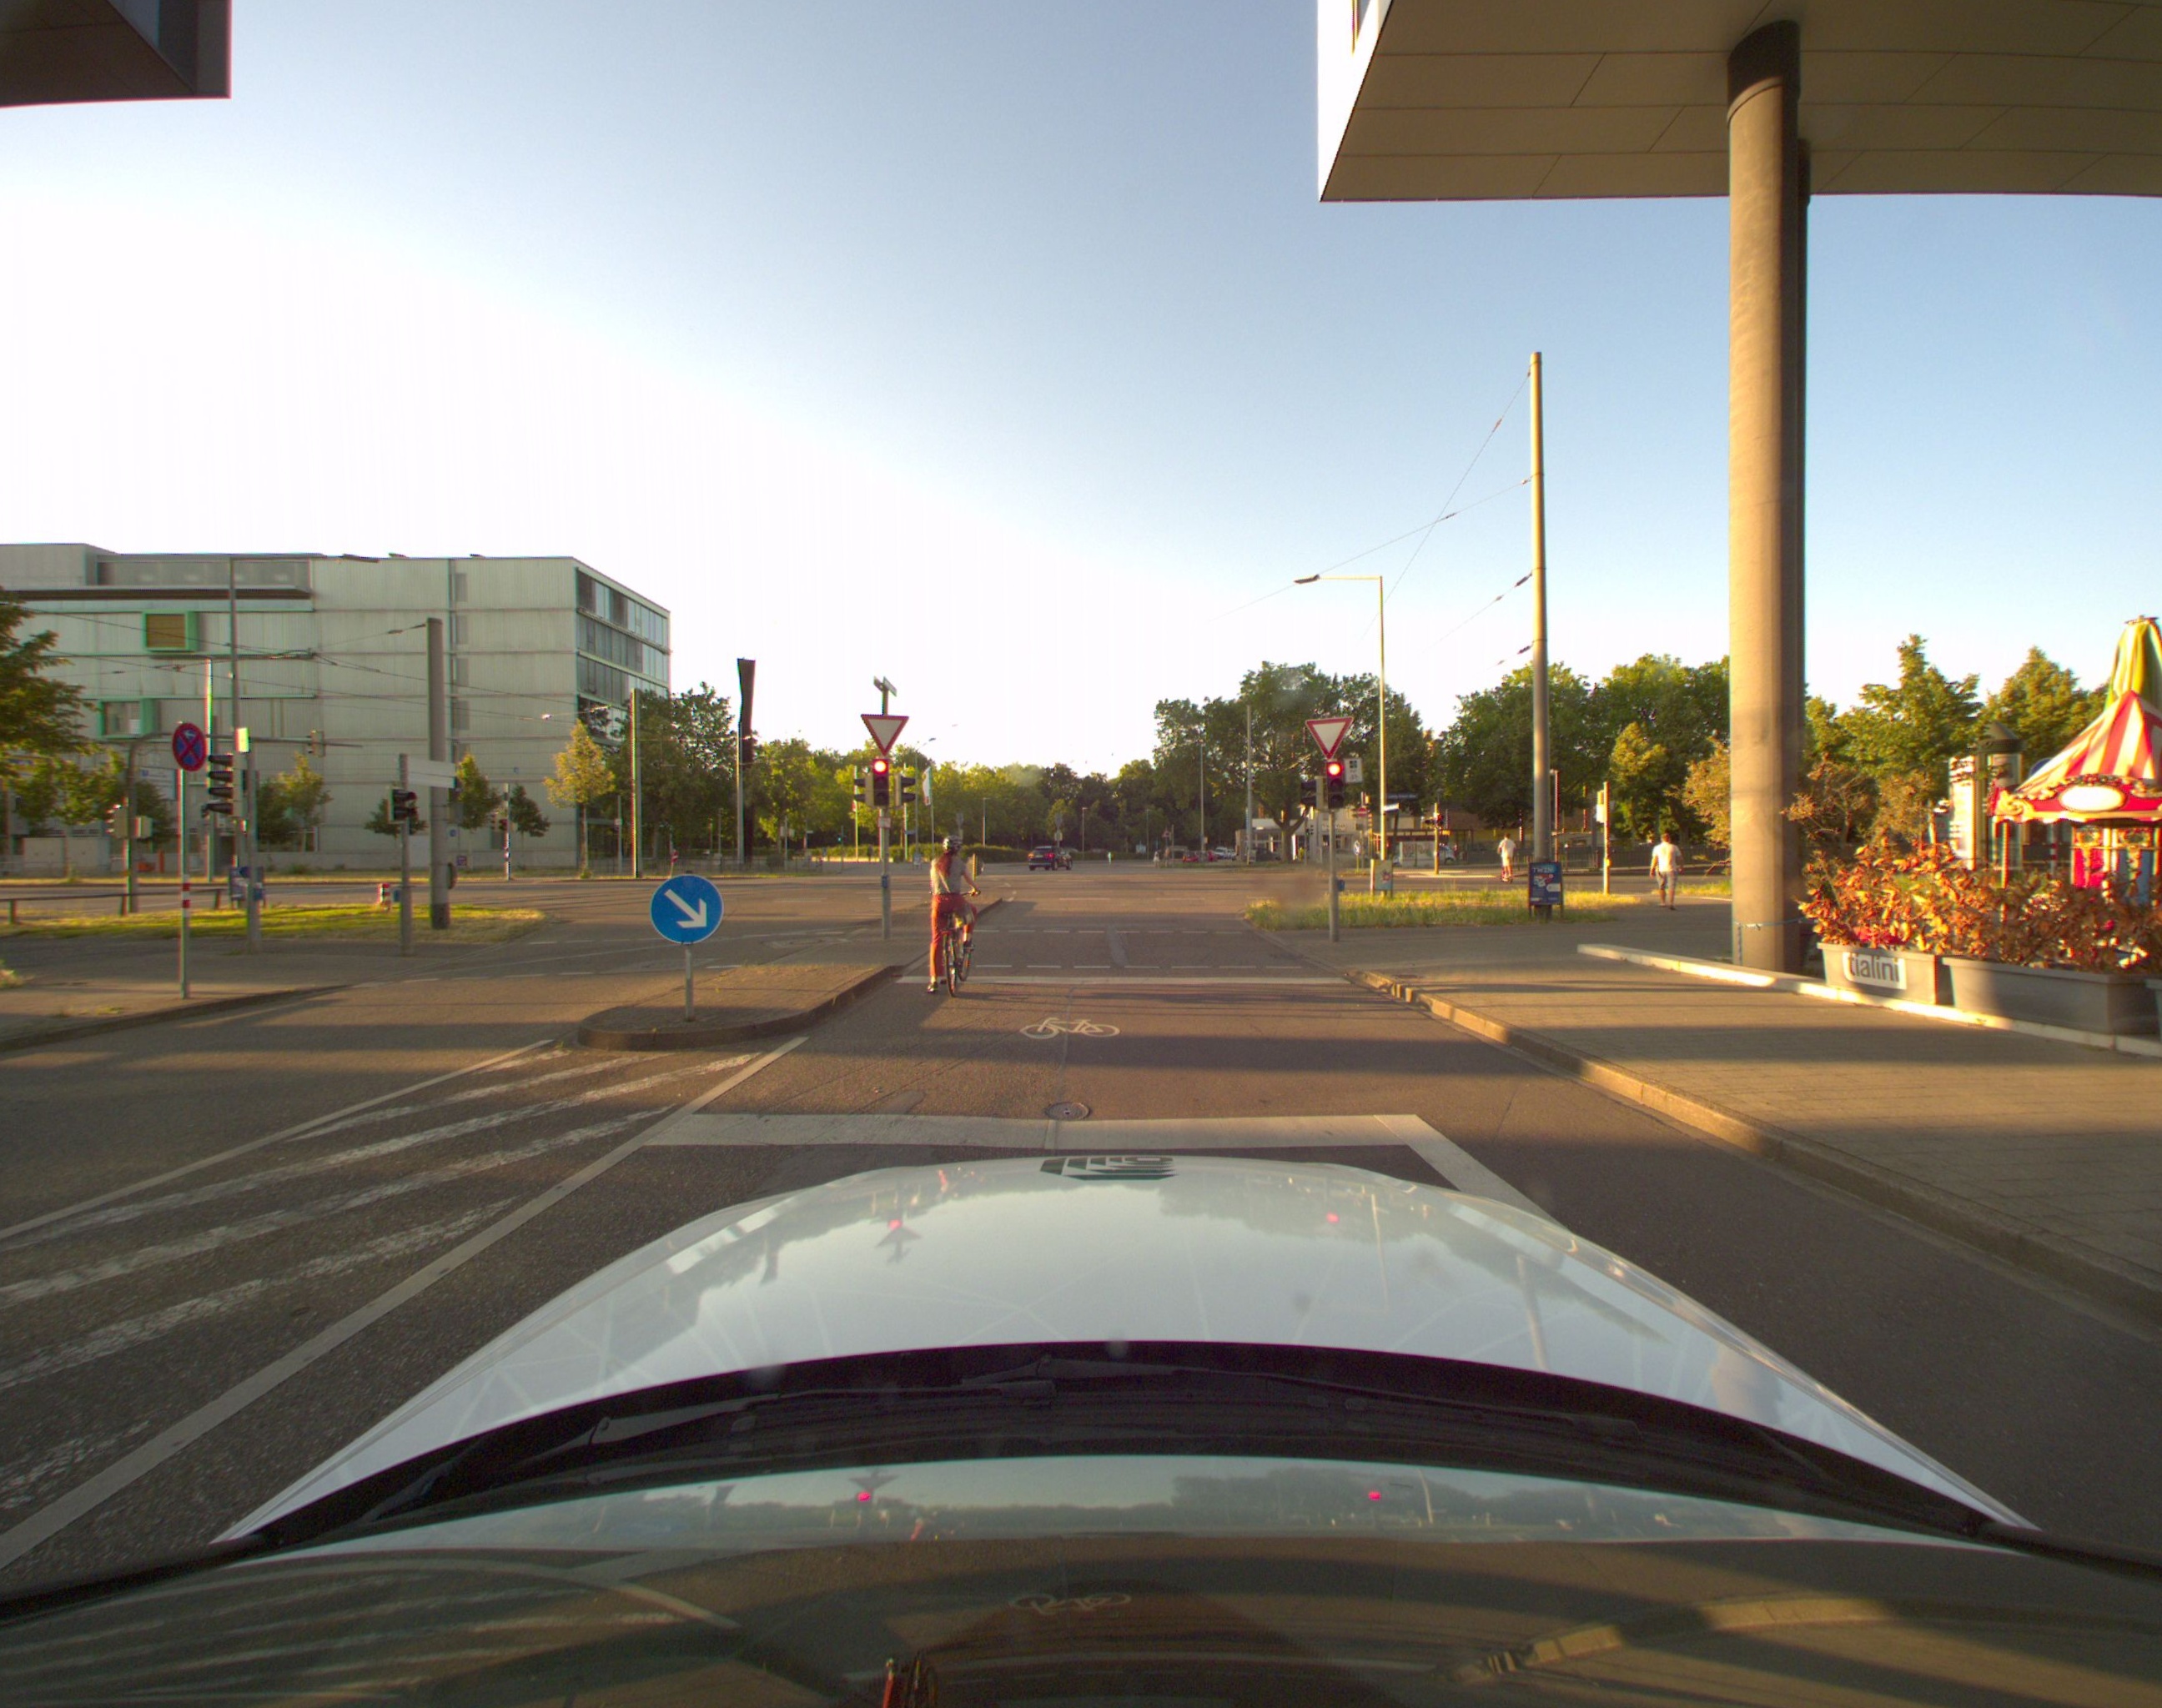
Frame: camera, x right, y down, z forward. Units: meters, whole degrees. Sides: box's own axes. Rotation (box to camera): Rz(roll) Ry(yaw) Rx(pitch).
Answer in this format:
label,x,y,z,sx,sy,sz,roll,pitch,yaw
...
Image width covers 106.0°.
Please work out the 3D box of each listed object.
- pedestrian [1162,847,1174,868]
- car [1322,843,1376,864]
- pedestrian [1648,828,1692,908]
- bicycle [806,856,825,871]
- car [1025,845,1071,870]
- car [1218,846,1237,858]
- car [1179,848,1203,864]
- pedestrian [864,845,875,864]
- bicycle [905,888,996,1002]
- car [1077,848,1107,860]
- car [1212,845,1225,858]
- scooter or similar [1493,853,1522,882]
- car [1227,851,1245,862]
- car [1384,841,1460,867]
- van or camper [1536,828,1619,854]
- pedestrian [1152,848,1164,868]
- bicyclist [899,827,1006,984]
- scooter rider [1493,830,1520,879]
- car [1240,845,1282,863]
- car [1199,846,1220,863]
label,x,y,z,sx,sy,sz,roll,pitch,yaw
pedestrian,7.149,0.269,67.020,0.712,1.754,0.903,-1,0,26
car,23.654,-0.044,72.086,4.211,1.846,2.002,-1,0,4
pedestrian,13.509,0.314,18.708,0.754,1.791,0.807,-1,0,32
bicycle,-20.695,0.710,63.537,0.697,1.136,2.392,-1,0,-1
car,-2.142,0.264,54.329,1.742,1.541,4.418,-1,-1,15
car,24.418,-0.332,135.457,1.975,2.013,4.024,-1,0,27
car,12.918,0.244,95.586,1.852,1.874,3.896,0,0,23
pedestrian,-19.913,0.067,76.804,0.898,1.754,0.715,-1,0,-24
bicycle,-1.450,0.976,9.409,0.632,1.068,2.123,-1,0,2
car,1.481,-0.031,109.689,3.970,1.561,2.002,-1,0,3
car,22.071,-0.351,130.876,1.982,2.013,4.010,-1,0,9
scooter or similar,16.500,0.515,31.504,0.508,1.090,1.243,-1,0,2
car,21.900,0.347,115.084,1.899,1.602,4.020,0,0,20
car,23.653,-0.033,56.522,4.523,1.728,1.860,-1,0,-3
van or camper,47.928,-1.273,78.720,6.530,2.410,2.268,-1,0,6
pedestrian,6.399,0.309,67.947,0.712,1.639,0.903,-1,0,26
bicyclist,-1.457,0.564,9.424,1.028,1.717,0.996,-1,0,1
scooter rider,16.509,0.020,31.606,0.699,1.855,0.669,0,-1,1
car,19.580,-0.009,88.686,4.354,1.835,1.952,-1,0,6
car,16.249,0.068,103.127,1.899,2.047,4.020,0,0,20
